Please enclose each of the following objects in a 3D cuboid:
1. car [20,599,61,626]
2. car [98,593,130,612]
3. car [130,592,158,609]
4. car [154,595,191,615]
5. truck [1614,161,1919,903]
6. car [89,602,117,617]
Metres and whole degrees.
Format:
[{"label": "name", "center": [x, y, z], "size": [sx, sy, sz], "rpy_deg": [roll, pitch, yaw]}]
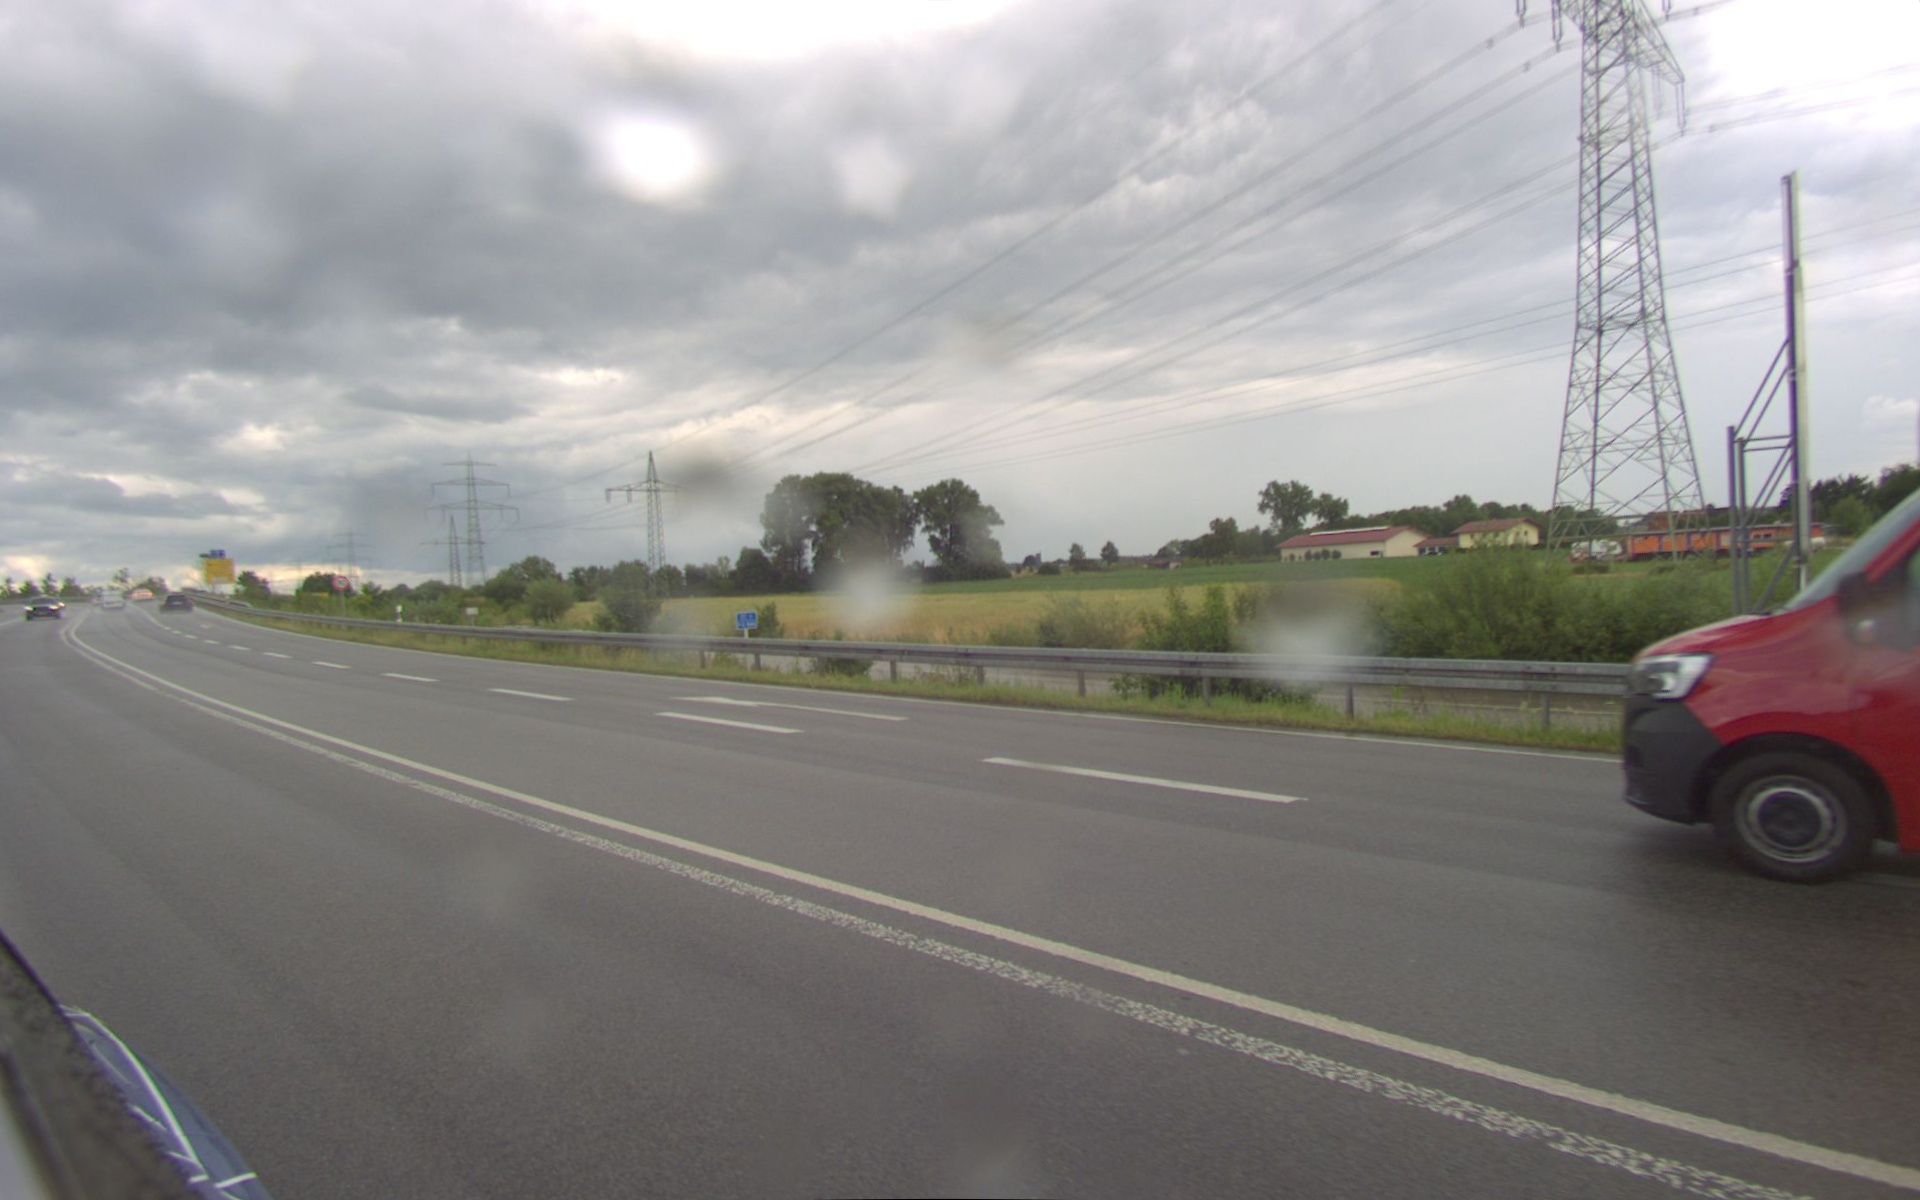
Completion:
[{"label": "car", "center": [-66.563, 0.939, 73.290], "size": [1.768, 1.782, 4.009], "rpy_deg": [-3, 0, -37]}, {"label": "car", "center": [-73.011, 0.205, 87.385], "size": [1.766, 1.678, 4.381], "rpy_deg": [0, 0, -35]}, {"label": "car", "center": [-92.167, 0.054, 114.351], "size": [1.917, 1.672, 4.659], "rpy_deg": [-4, 4, -32]}, {"label": "car", "center": [-59.183, 0.338, 75.996], "size": [1.873, 1.452, 4.907], "rpy_deg": [-2, 2, -41]}, {"label": "truck", "center": [6.952, -0.355, 3.730], "size": [7.280, 3.317, 2.454], "rpy_deg": [-2, -1, 43]}, {"label": "car", "center": [-88.175, 0.952, 104.155], "size": [1.743, 1.511, 4.220], "rpy_deg": [-2, 1, -35]}]
